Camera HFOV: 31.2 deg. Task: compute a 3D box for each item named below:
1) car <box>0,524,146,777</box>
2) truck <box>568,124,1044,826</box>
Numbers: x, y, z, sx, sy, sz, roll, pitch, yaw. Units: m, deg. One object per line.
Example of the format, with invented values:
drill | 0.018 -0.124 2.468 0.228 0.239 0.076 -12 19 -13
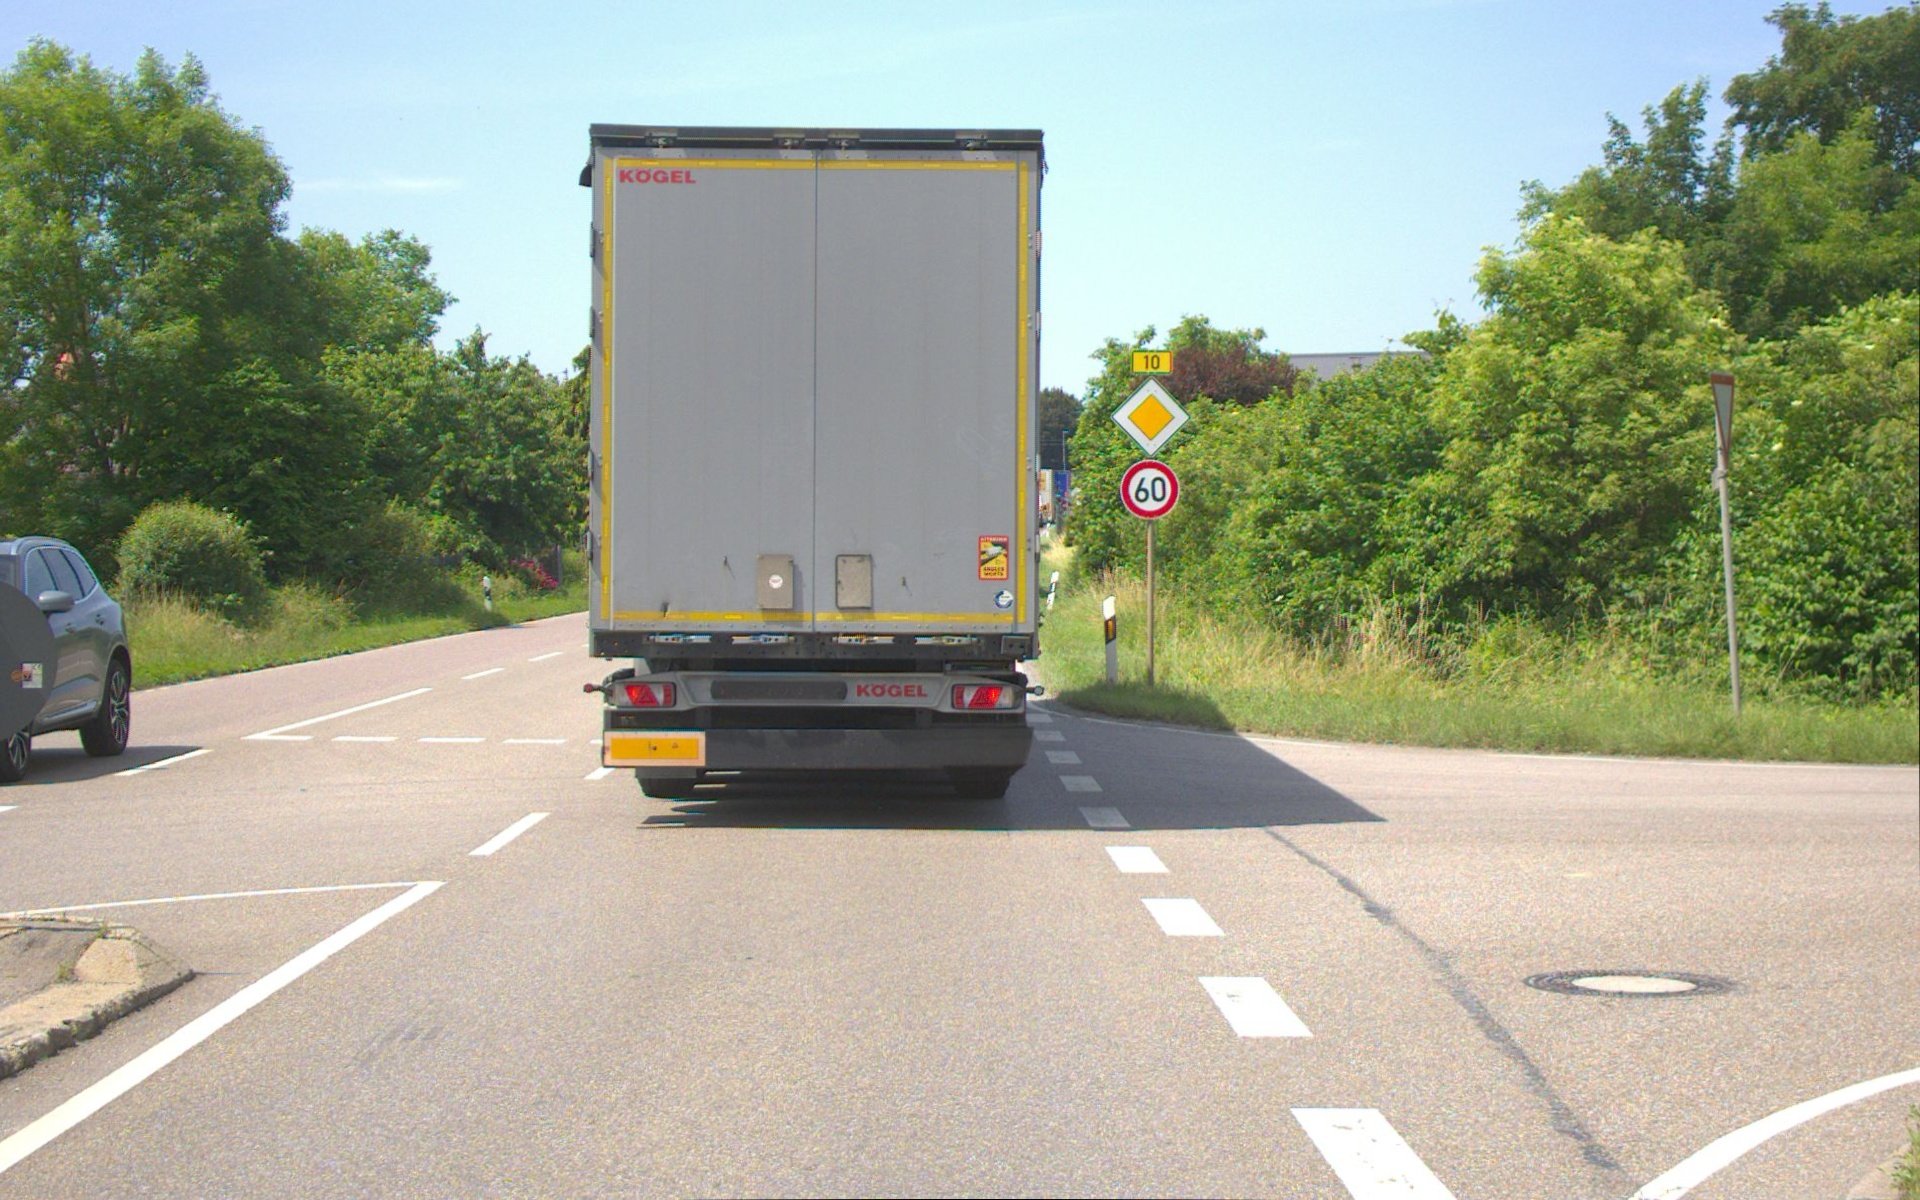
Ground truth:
car | -7.262 0.313 24.566 1.948 1.648 4.432 -1 1 -2
truck | -1.058 -0.784 23.596 2.647 3.903 8.826 0 1 -3
